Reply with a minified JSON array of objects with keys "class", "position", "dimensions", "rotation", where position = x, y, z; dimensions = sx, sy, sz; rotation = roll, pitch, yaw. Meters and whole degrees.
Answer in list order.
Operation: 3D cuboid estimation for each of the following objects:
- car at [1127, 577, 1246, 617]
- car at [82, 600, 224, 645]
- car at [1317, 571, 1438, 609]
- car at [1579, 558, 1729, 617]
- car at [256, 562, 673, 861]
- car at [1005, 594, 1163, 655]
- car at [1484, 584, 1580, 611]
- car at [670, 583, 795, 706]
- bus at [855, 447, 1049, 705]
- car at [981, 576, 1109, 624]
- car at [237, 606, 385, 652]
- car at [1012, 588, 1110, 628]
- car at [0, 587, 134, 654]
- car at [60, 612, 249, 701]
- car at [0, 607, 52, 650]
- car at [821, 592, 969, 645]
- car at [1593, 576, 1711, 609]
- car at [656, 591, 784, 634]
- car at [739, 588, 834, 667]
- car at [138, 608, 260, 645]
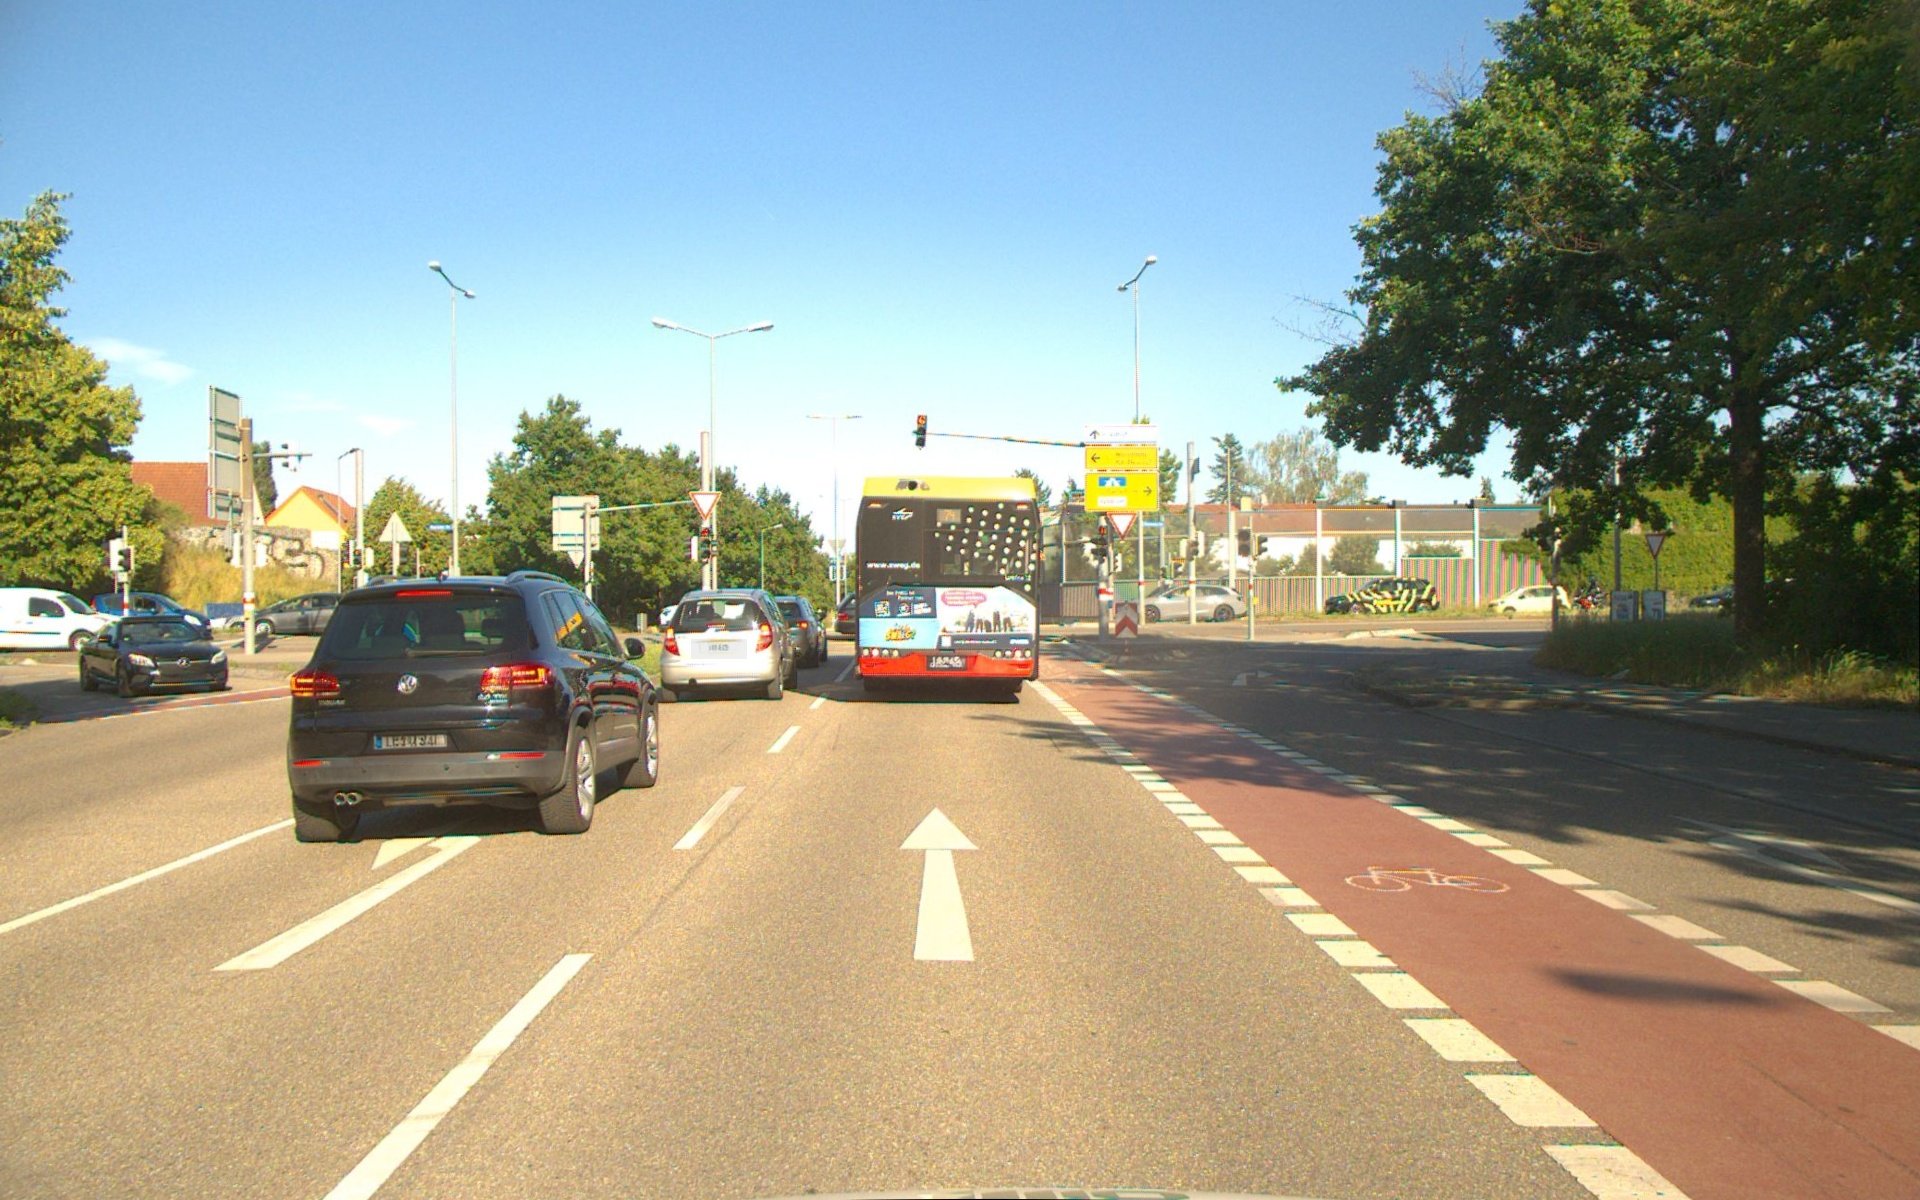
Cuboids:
[{"class":"car","position":[8.732,-0.107,63.945],"dimensions":[4.327,1.485,1.573],"rotation":[1,-1,-4]},{"class":"car","position":[-26.126,0.726,53.659],"dimensions":[3.775,1.409,1.679],"rotation":[1,-1,-9]},{"class":"car","position":[15.425,-0.349,61.192],"dimensions":[4.077,1.325,1.573],"rotation":[1,-1,-4]},{"class":"car","position":[16.422,-0.280,39.136],"dimensions":[3.355,1.318,1.448],"rotation":[1,-1,-26]},{"class":"car","position":[-3.272,0.681,11.772],"dimensions":[1.784,1.703,4.001],"rotation":[-2,-1,-1]},{"class":"car","position":[2.814,0.535,37.272],"dimensions":[3.447,1.325,1.576],"rotation":[0,1,8]},{"class":"car","position":[25.096,-0.118,72.652],"dimensions":[3.682,1.156,1.573],"rotation":[0,0,-4]},{"class":"car","position":[-3.406,0.600,25.199],"dimensions":[1.720,1.648,4.028],"rotation":[-1,1,-7]},{"class":"bus","position":[-0.187,-0.342,27.966],"dimensions":[2.543,3.393,11.981],"rotation":[1,0,-1]},{"class":"car","position":[2.883,0.013,56.596],"dimensions":[4.139,1.590,1.761],"rotation":[1,-1,-5]},{"class":"car","position":[-23.446,1.038,59.873],"dimensions":[4.612,1.567,1.997],"rotation":[0,0,-7]},{"class":"car","position":[4.236,0.319,69.866],"dimensions":[3.910,1.640,1.693],"rotation":[-1,0,-7]},{"class":"car","position":[-25.803,0.589,46.832],"dimensions":[4.033,1.832,1.455],"rotation":[-1,-1,-7]},{"class":"car","position":[-15.175,1.047,31.034],"dimensions":[1.984,1.427,4.517],"rotation":[-4,1,-42]},{"class":"car","position":[-31.259,0.882,52.687],"dimensions":[3.775,1.336,1.504],"rotation":[1,-1,-9]},{"class":"car","position":[-2.002,0.549,49.973],"dimensions":[4.376,1.466,1.681],"rotation":[-1,0,-6]},{"class":"car","position":[28.118,-0.303,67.268],"dimensions":[4.204,1.325,1.573],"rotation":[0,0,-4]},{"class":"car","position":[-8.943,0.454,61.894],"dimensions":[4.610,1.567,1.998],"rotation":[0,0,-5]},{"class":"car","position":[-3.515,0.548,33.962],"dimensions":[1.556,1.512,3.682],"rotation":[-1,-1,0]},{"class":"car","position":[-28.634,0.996,62.313],"dimensions":[3.772,1.364,1.680],"rotation":[1,-1,-6]}]
